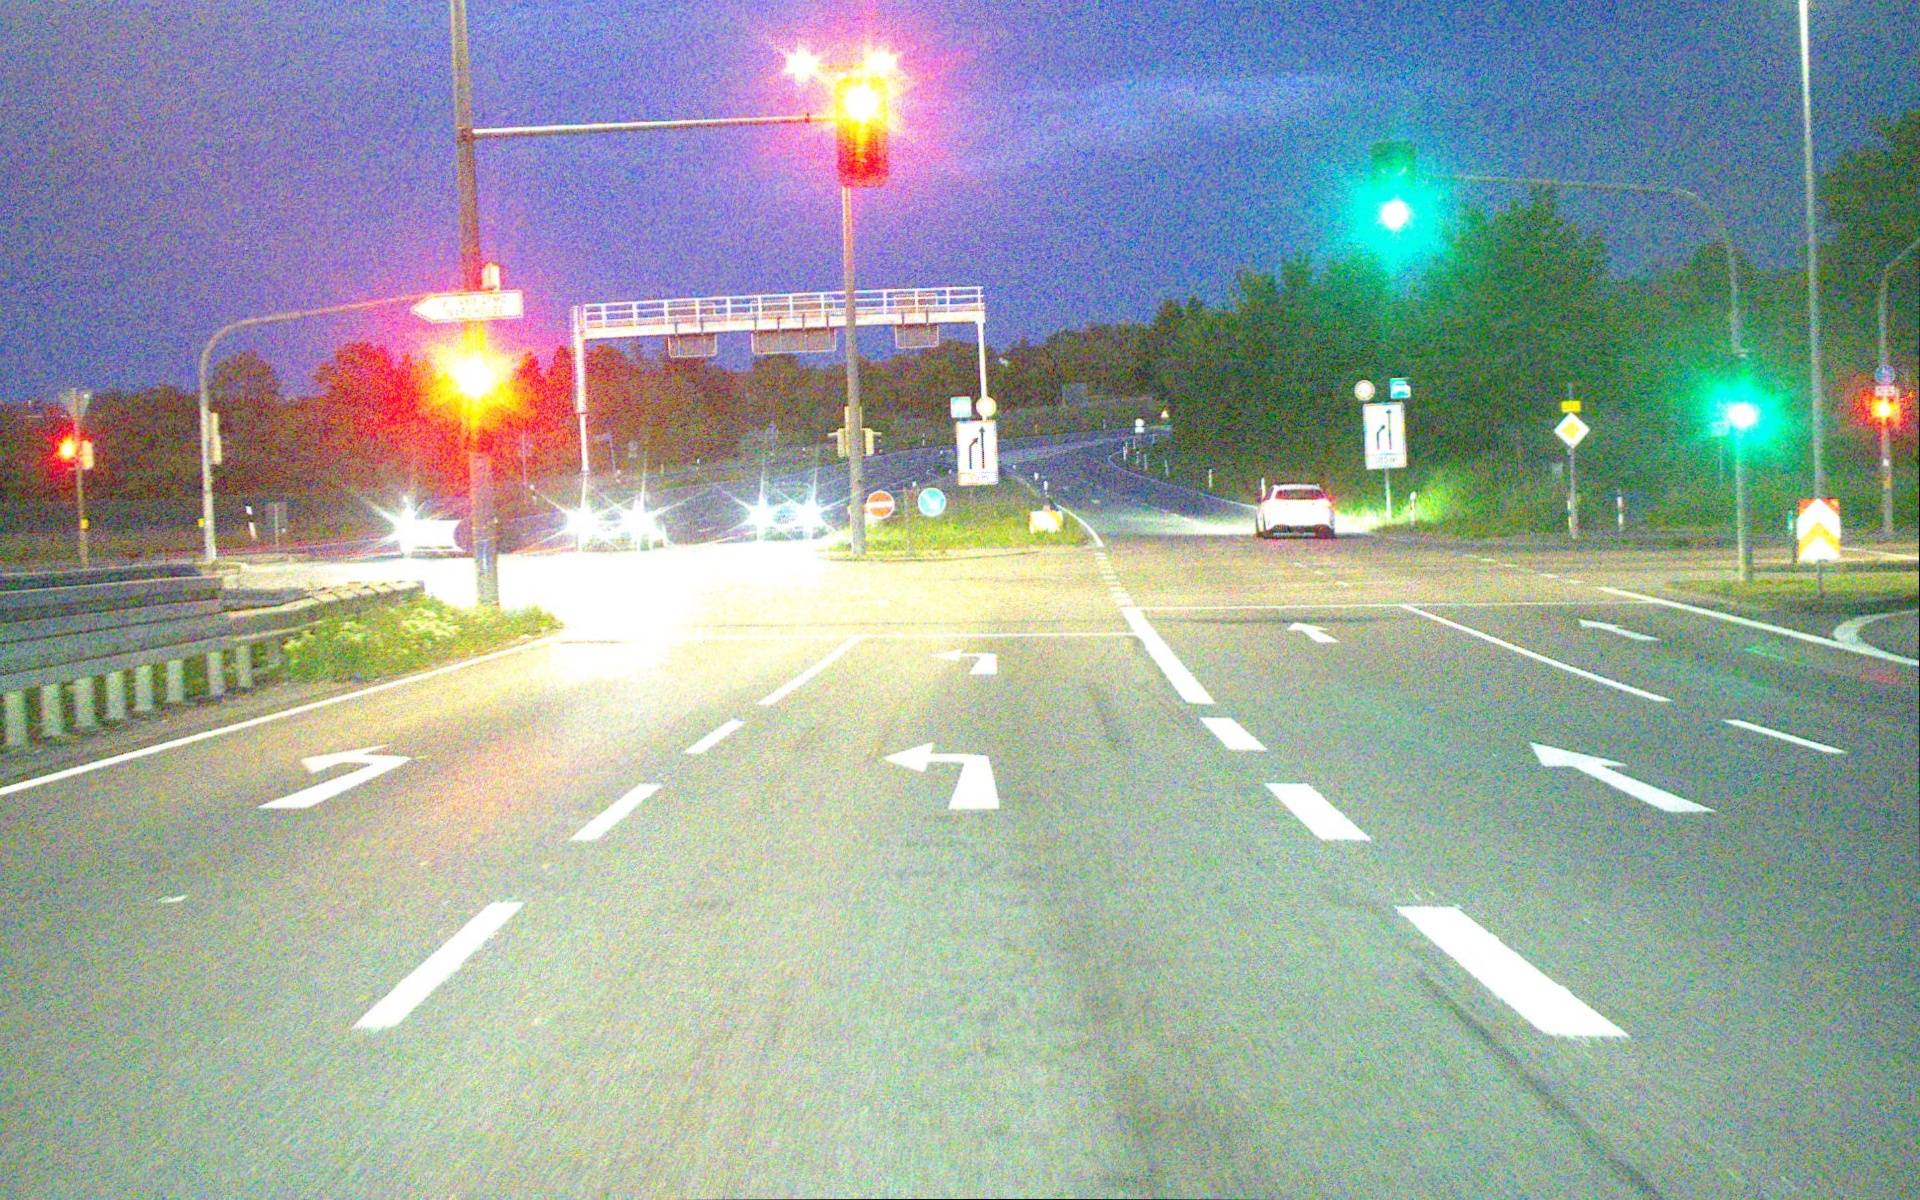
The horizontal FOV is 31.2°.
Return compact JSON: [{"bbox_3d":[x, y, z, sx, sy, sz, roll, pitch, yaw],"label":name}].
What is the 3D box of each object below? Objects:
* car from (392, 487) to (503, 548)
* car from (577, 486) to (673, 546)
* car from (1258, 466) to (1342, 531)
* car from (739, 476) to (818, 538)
[{"bbox_3d":[-12.666,-2.063,85.218,1.993,1.420,4.533,-1,2,1],"label":"car"},{"bbox_3d":[-8.725,-2.224,89.847,1.993,1.476,4.682,-1,2,1],"label":"car"},{"bbox_3d":[8.766,-2.627,88.920,2.008,1.605,3.845,-1,1,4],"label":"car"},{"bbox_3d":[-5.214,-2.701,98.941,1.993,1.692,4.001,-1,2,1],"label":"car"}]
